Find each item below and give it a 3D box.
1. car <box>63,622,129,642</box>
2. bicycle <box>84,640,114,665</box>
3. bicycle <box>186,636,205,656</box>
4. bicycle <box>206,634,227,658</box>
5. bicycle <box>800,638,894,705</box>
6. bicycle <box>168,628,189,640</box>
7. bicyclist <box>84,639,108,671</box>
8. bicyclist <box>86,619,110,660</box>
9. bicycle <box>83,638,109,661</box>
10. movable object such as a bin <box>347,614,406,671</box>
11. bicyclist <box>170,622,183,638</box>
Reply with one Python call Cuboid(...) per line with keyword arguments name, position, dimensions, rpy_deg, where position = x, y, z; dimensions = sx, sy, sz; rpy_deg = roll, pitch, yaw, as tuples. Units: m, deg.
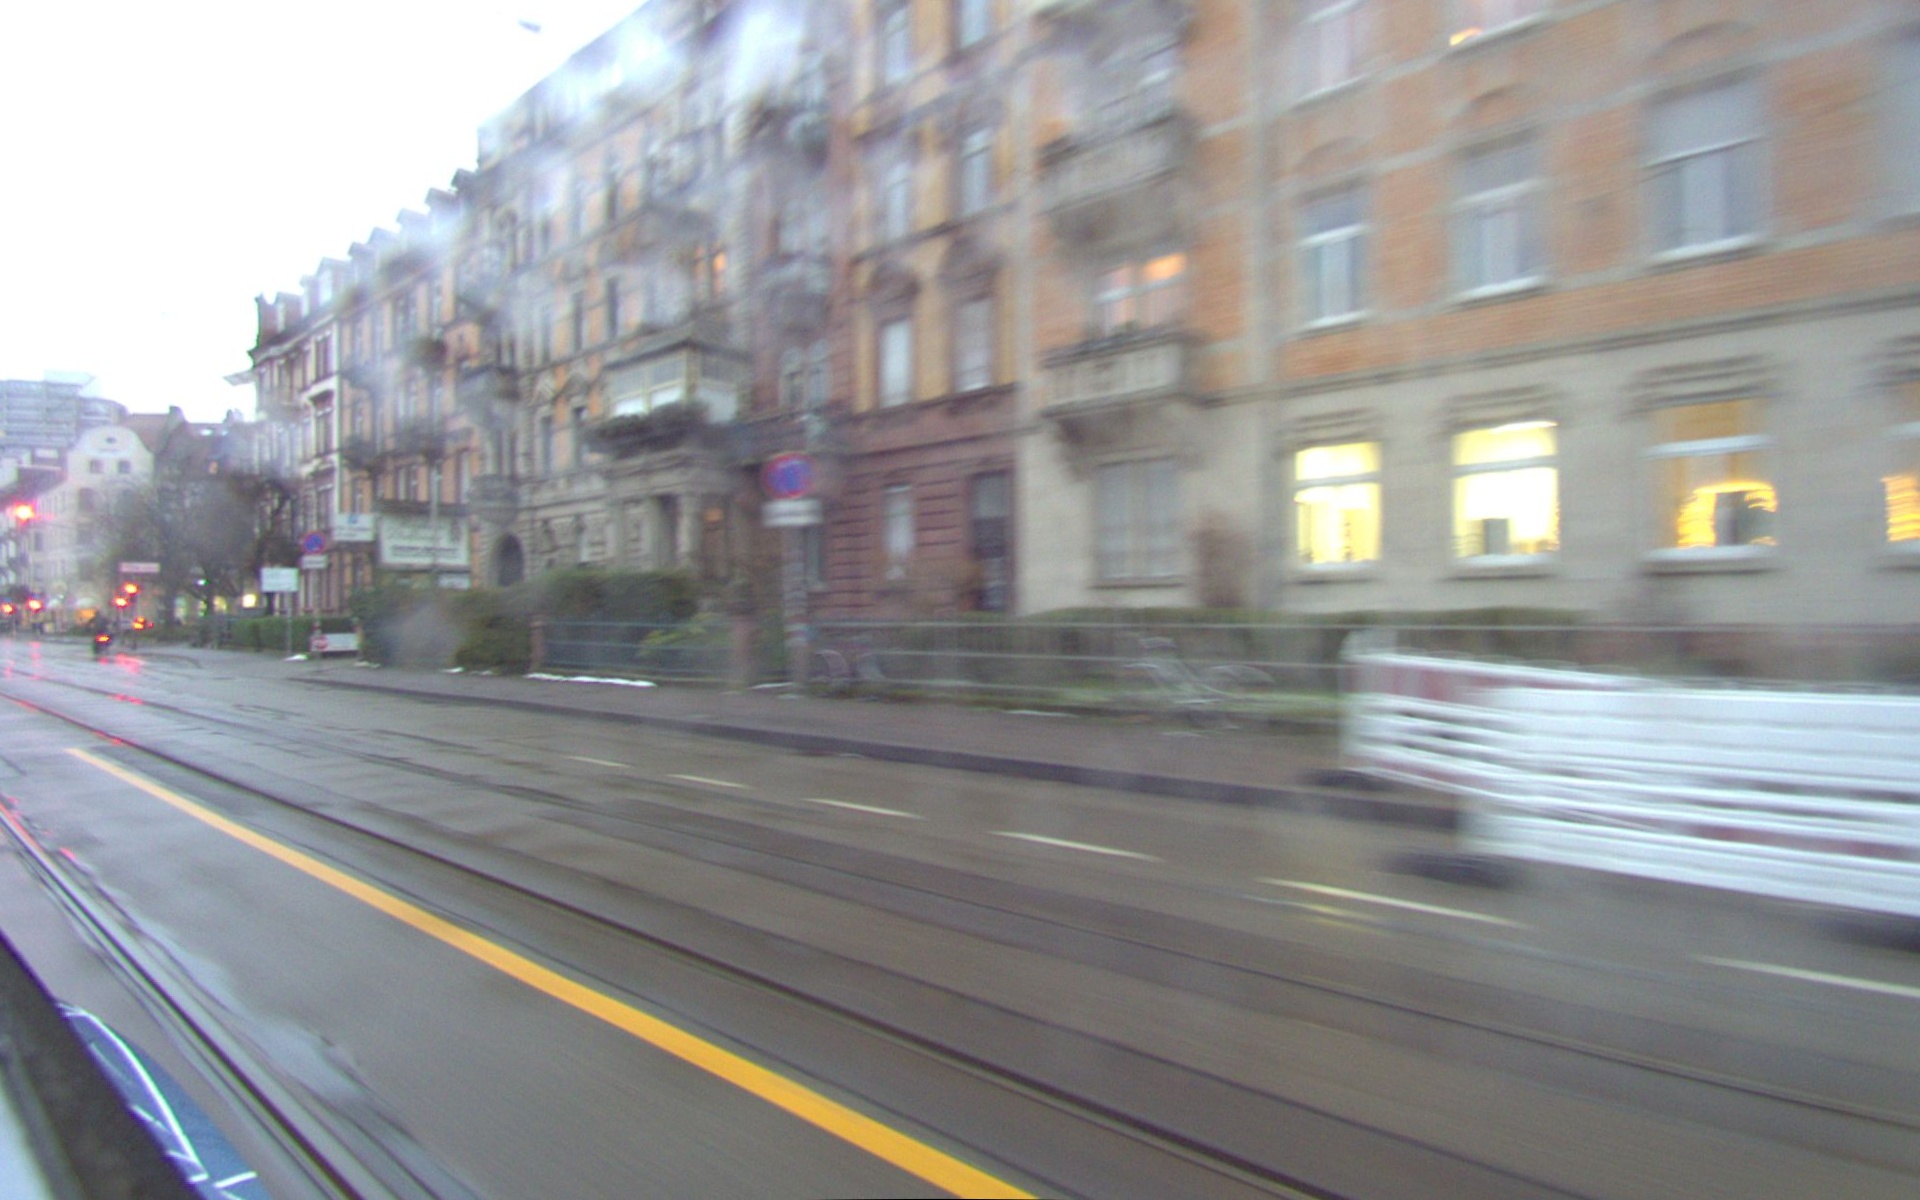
Cuboid(name="car", position=(-75.365, 2.789, 88.364), dimensions=(4.273, 1.595, 1.941), rpy_deg=(0, -1, -38))
Cuboid(name="bicycle", position=(-35.108, 2.126, 41.262), dimensions=(1.933, 0.979, 0.671), rpy_deg=(-1, -1, 42))
Cuboid(name="bicycle", position=(-35.734, 2.134, 47.302), dimensions=(1.849, 0.869, 0.395), rpy_deg=(-1, -1, 42))
Cuboid(name="bicycle", position=(-32.275, 1.980, 43.925), dimensions=(1.849, 1.014, 0.412), rpy_deg=(-1, -1, 42))
Cuboid(name="bicycle", position=(-1.711, 1.053, 15.160), dimensions=(1.684, 0.922, 0.260), rpy_deg=(-2, 4, 41))
Cuboid(name="bicycle", position=(-69.324, 3.032, 89.746), dimensions=(1.795, 1.014, 0.489), rpy_deg=(-1, -1, 17))
Cuboid(name="bicyclist", position=(-38.925, 2.473, 45.590), dimensions=(0.944, 1.374, 0.697), rpy_deg=(-1, 1, 42))
Cuboid(name="bicyclist", position=(-35.242, 1.605, 41.371), dimensions=(0.765, 1.628, 0.676), rpy_deg=(-1, -1, 42))
Cuboid(name="bicycle", position=(-38.921, 2.221, 45.601), dimensions=(1.802, 1.014, 0.674), rpy_deg=(-1, -1, 42))
Cuboid(name="movable object such as a bin", position=(-17.313, 1.240, 30.028), dimensions=(1.229, 1.598, 1.308), rpy_deg=(-1, 0, -44))
Cuboid(name="bicyclist", position=(-69.471, 2.634, 89.779), dimensions=(0.758, 1.374, 0.528), rpy_deg=(-1, 1, 15))
